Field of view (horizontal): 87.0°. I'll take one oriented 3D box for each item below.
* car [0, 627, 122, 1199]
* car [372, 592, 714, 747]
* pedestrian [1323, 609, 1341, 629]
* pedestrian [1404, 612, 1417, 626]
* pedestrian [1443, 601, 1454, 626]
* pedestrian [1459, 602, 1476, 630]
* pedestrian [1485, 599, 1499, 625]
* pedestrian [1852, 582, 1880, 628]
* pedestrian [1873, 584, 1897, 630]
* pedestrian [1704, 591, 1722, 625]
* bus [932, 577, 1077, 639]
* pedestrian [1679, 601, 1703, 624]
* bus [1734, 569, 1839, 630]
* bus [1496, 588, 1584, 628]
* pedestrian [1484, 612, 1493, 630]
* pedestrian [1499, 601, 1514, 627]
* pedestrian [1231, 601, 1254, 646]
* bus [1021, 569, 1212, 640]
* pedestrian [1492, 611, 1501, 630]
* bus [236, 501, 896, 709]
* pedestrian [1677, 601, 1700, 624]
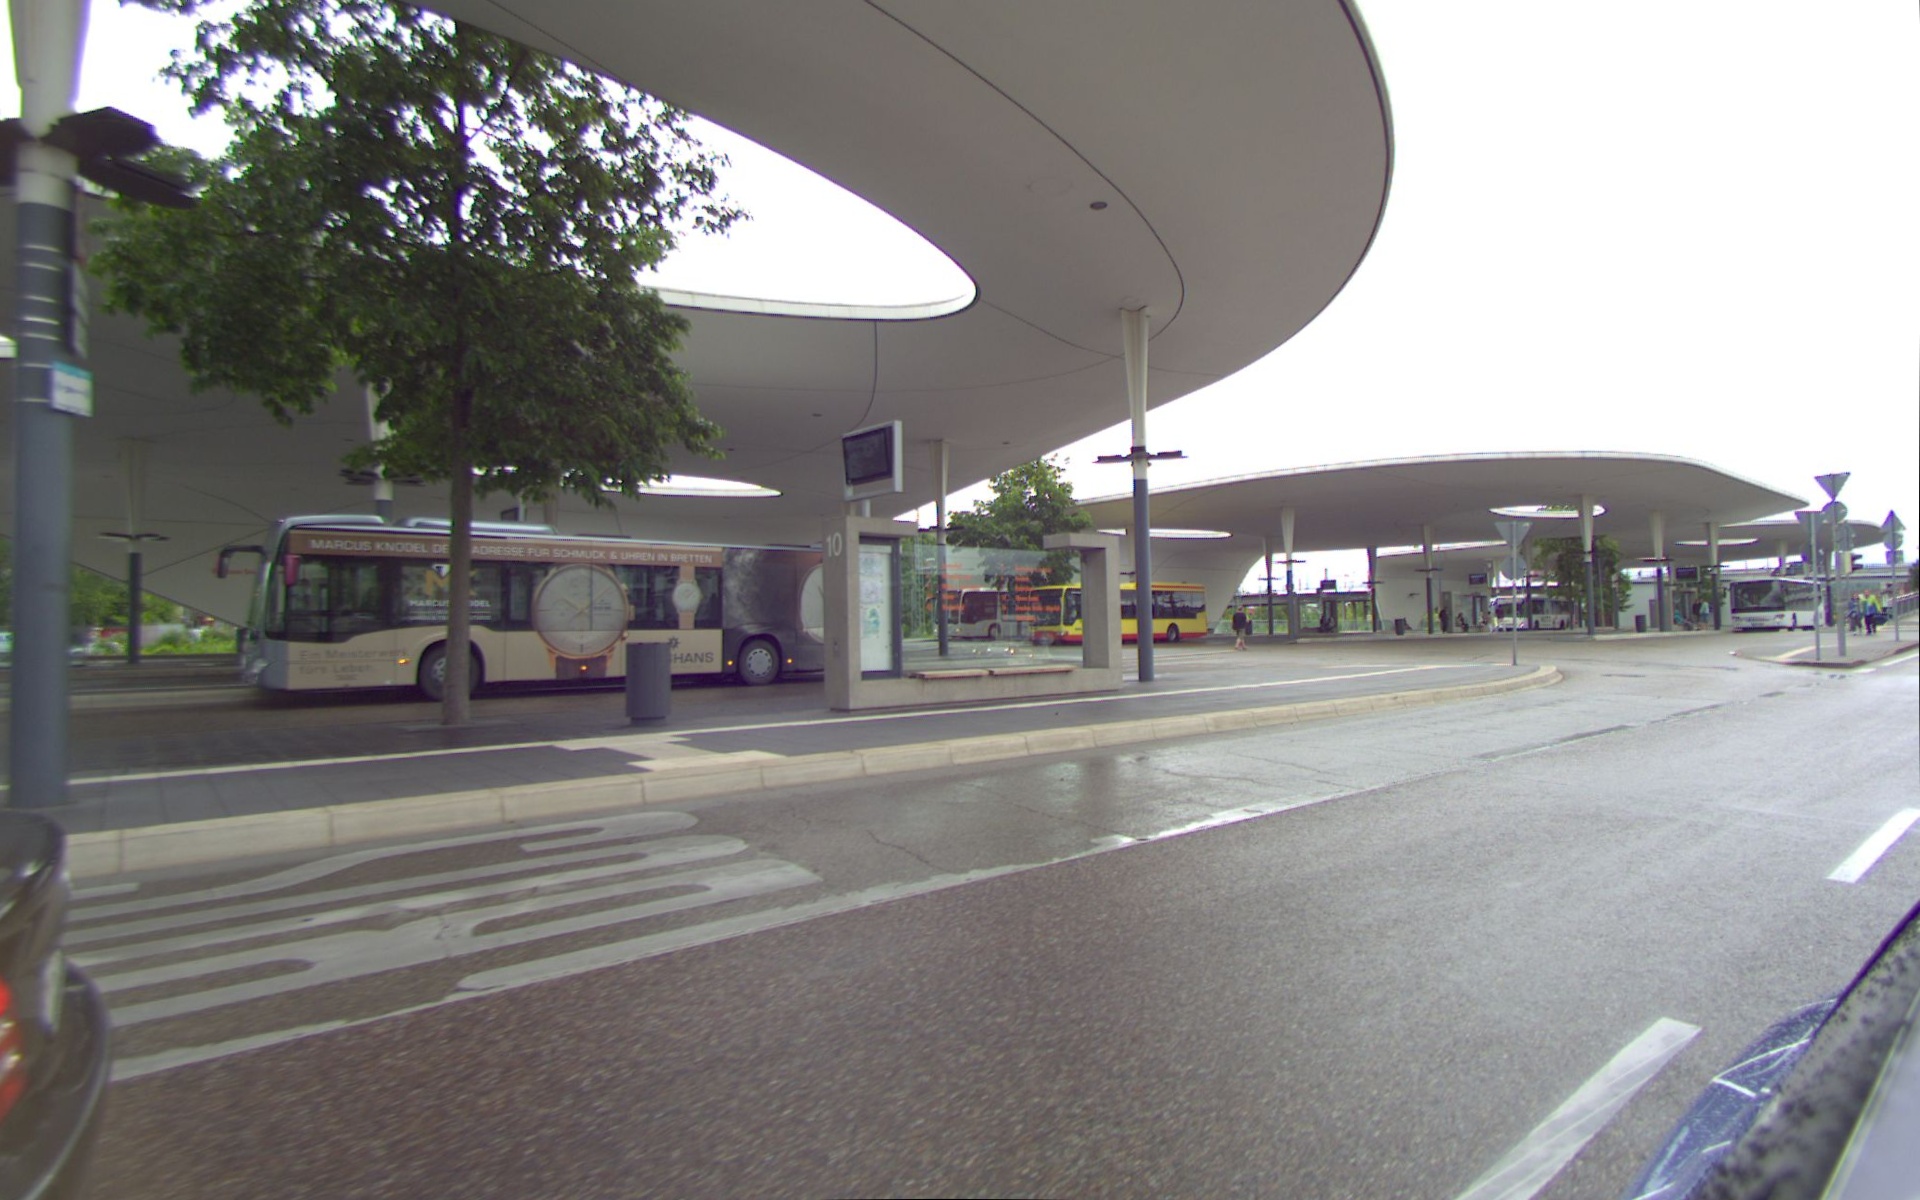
[{"bbox_3d":[-3.329,0.752,0.645,4.228,1.481,1.700,2,-2,-41],"label":"car"},{"bbox_3d":[-4.570,0.688,11.288,3.181,1.472,1.649,1,-2,-42],"label":"car"},{"bbox_3d":[25.716,1.312,69.935,0.786,1.341,0.711,-4,-2,-33],"label":"pedestrian"},{"bbox_3d":[44.832,1.909,100.682,0.698,1.341,0.801,-4,-2,-35],"label":"pedestrian"},{"bbox_3d":[29.408,0.799,60.923,0.513,1.521,0.381,-1,-1,10],"label":"pedestrian"},{"bbox_3d":[31.114,0.971,62.053,0.667,1.610,0.588,-4,-3,-44],"label":"pedestrian"},{"bbox_3d":[33.931,0.772,64.568,0.546,1.676,0.571,0,-1,-34],"label":"pedestrian"},{"bbox_3d":[34.613,0.202,38.676,0.571,1.691,0.590,-5,-1,-41],"label":"pedestrian"},{"bbox_3d":[34.954,0.248,38.230,0.570,1.691,0.523,-3,-1,-40],"label":"pedestrian"},{"bbox_3d":[42.449,0.456,57.037,0.636,1.911,0.587,3,-1,-30],"label":"pedestrian"},{"bbox_3d":[2.827,0.419,60.651,9.687,3.443,2.518,0,-1,-42],"label":"bus"},{"bbox_3d":[41.352,0.687,57.263,0.943,1.271,0.643,2,-1,27],"label":"pedestrian"},{"bbox_3d":[50.285,-0.042,61.353,12.207,3.404,2.850,0,0,-41],"label":"bus"},{"bbox_3d":[50.850,0.620,88.526,11.928,3.299,2.793,-1,-1,-41],"label":"bus"},{"bbox_3d":[33.044,1.293,63.273,0.345,1.095,0.392,0,-1,1],"label":"pedestrian"},{"bbox_3d":[35.072,0.884,64.908,0.632,1.676,0.638,-1,-1,10],"label":"pedestrian"},{"bbox_3d":[10.911,0.904,39.049,0.712,1.705,1.013,0,0,24],"label":"pedestrian"},{"bbox_3d":[8.318,0.286,52.106,11.931,3.299,2.791,1,-2,-42],"label":"bus"},{"bbox_3d":[33.433,1.267,63.104,0.357,1.160,0.395,0,-1,1],"label":"pedestrian"},{"bbox_3d":[-6.827,0.074,19.879,11.875,3.082,2.726,0,-1,-40],"label":"bus"},{"bbox_3d":[41.680,0.715,57.926,0.943,1.271,0.643,2,-1,27],"label":"pedestrian"}]
